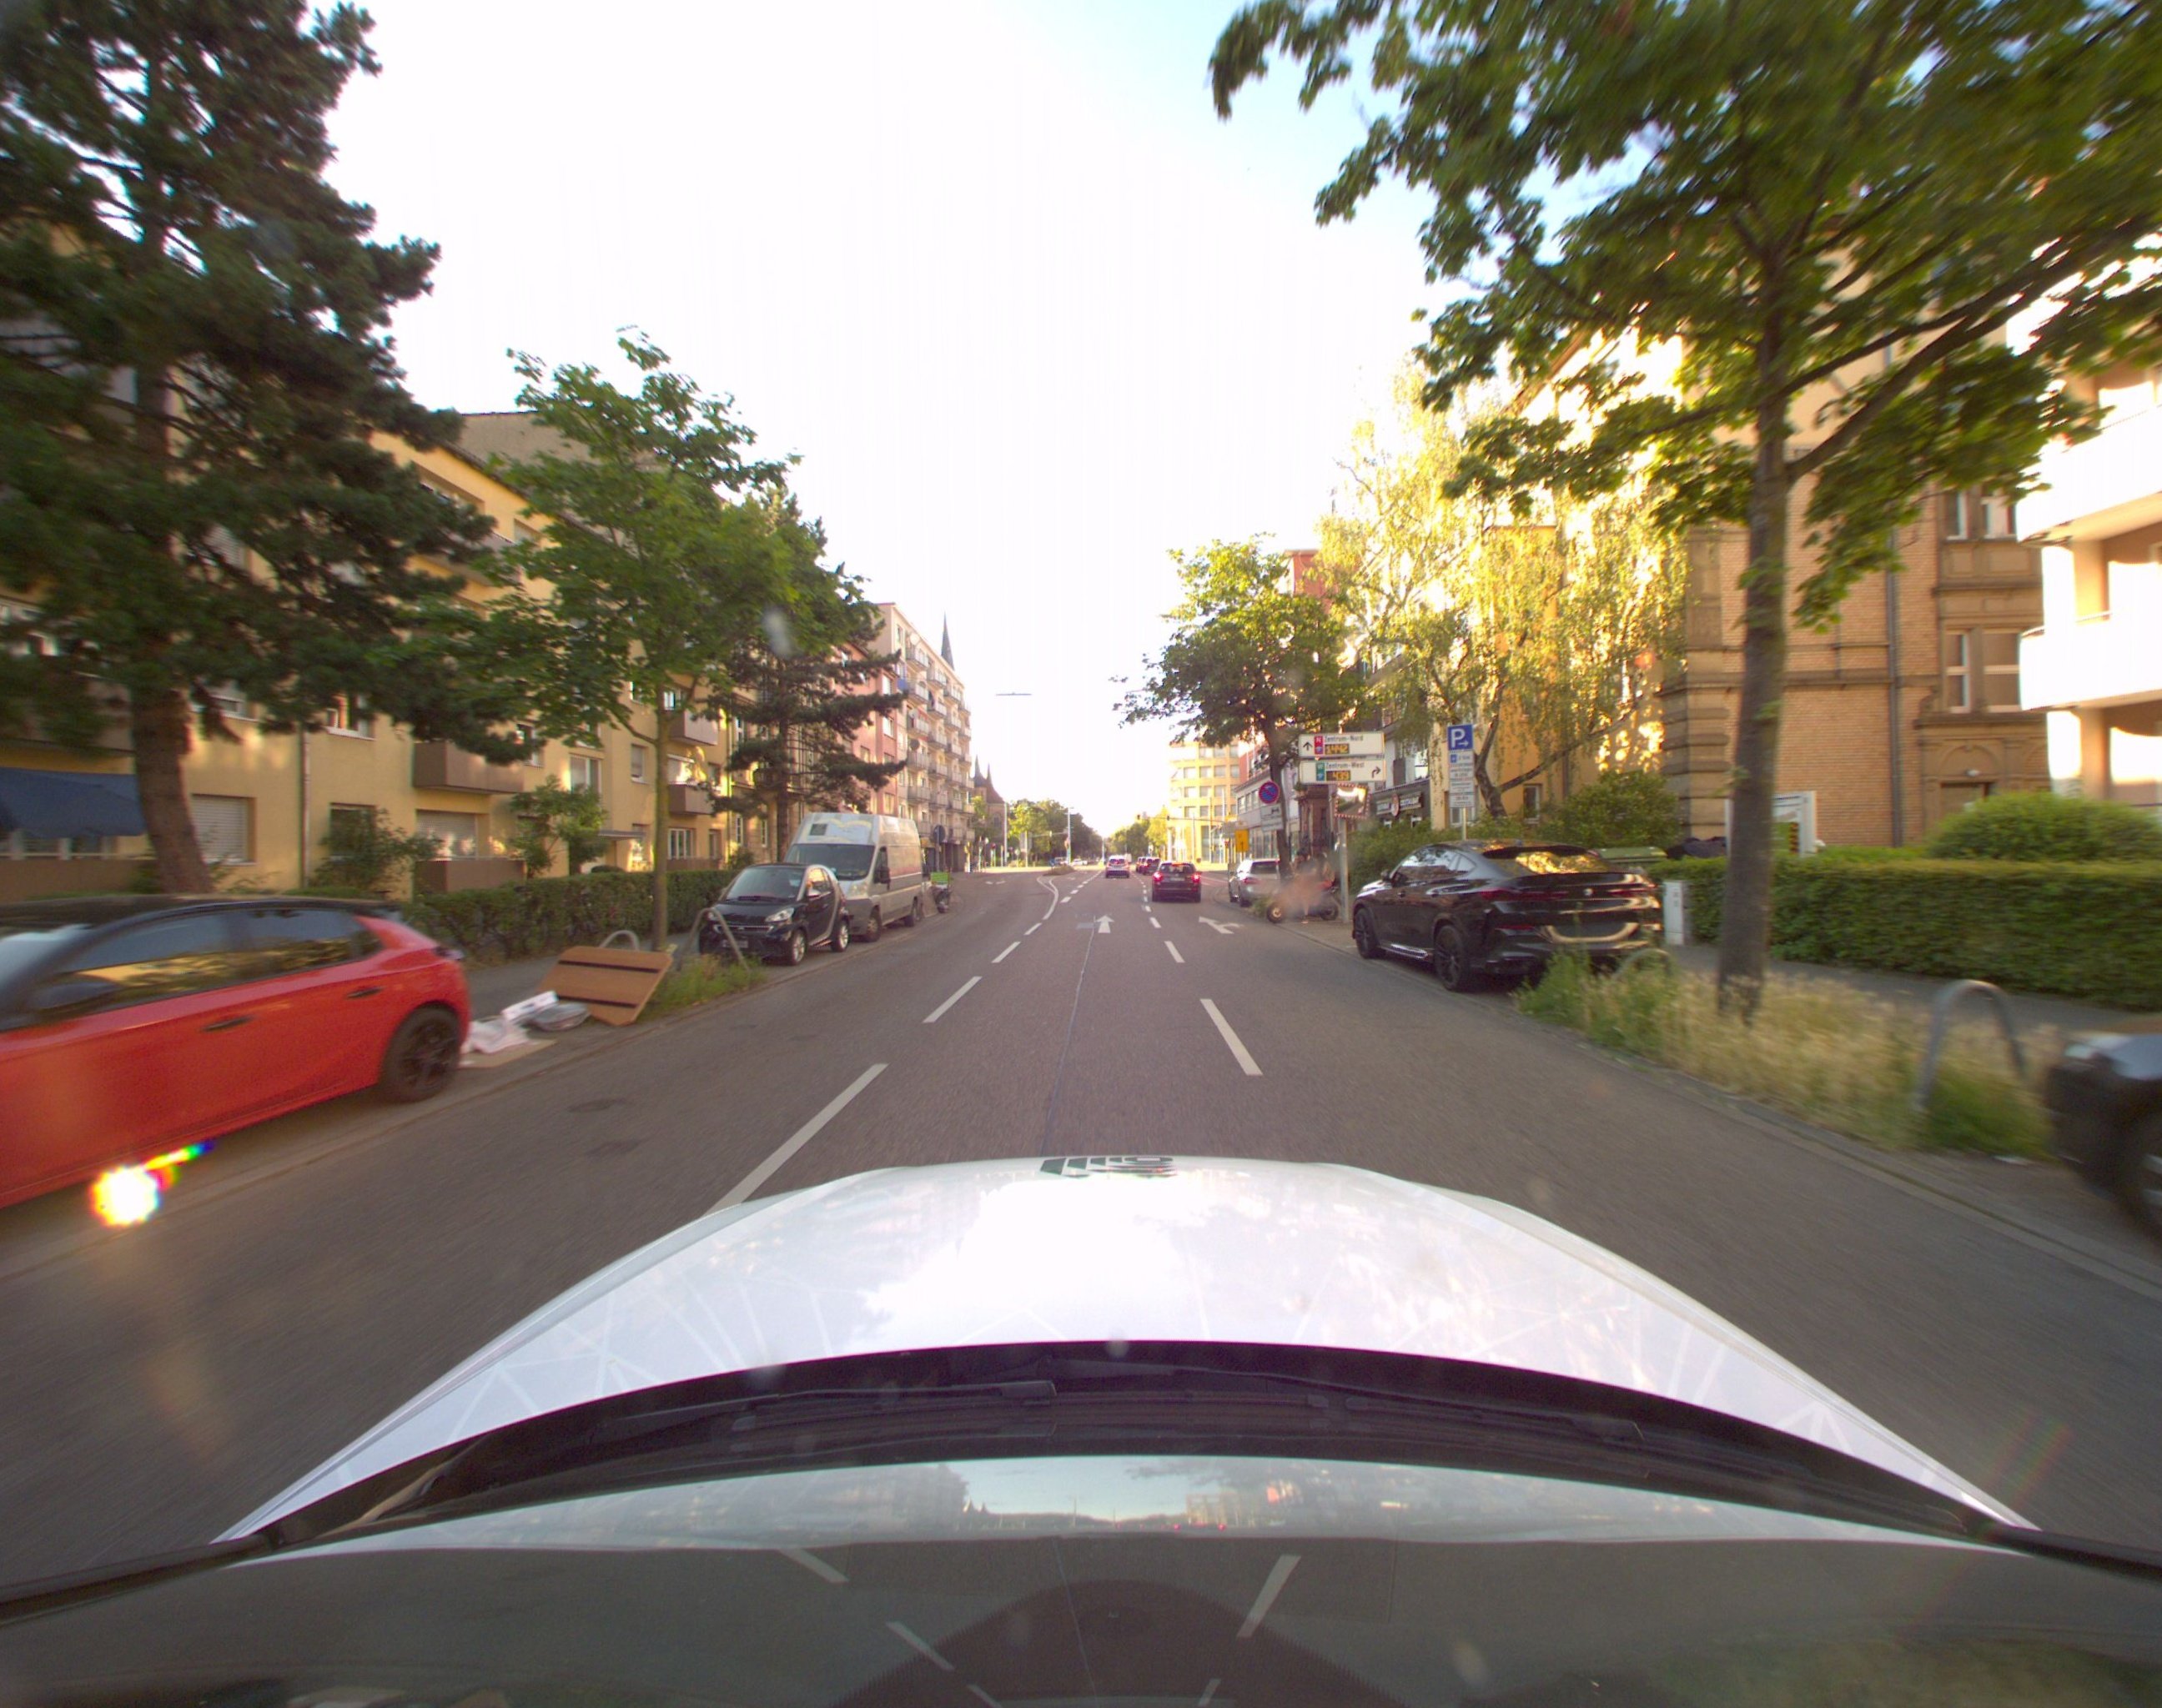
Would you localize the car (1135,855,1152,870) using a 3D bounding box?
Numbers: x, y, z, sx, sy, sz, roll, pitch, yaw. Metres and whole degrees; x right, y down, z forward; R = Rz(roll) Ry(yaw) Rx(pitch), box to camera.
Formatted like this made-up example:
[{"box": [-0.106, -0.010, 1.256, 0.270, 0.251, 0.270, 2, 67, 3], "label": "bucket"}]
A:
[{"box": [6.220, 0.867, 81.132, 1.578, 1.446, 3.649, 1, 0, 2], "label": "car"}]

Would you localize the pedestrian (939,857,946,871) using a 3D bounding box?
[{"box": [-13.677, 0.956, 80.403, 0.479, 1.384, 0.484, -1, -1, 22], "label": "pedestrian"}]

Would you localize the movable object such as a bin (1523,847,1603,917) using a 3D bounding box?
[{"box": [10.283, 0.594, 17.436, 1.243, 1.441, 0.999, -1, 0, 16], "label": "movable object such as a bin"}]

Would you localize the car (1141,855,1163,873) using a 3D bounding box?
[{"box": [5.972, 0.810, 68.827, 1.644, 1.484, 4.242, 0, 0, 2], "label": "car"}]

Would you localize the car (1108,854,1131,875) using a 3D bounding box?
[{"box": [2.844, 0.763, 60.603, 1.701, 1.510, 4.311, 0, 0, 2], "label": "car"}]

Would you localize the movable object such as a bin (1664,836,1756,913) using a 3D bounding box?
[{"box": [13.244, 0.410, 17.173, 1.154, 1.555, 0.992, -1, 0, -8], "label": "movable object such as a bin"}]

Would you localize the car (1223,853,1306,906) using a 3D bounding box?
[{"box": [5.875, 0.757, 26.637, 1.848, 1.512, 4.839, -2, 0, 4], "label": "car"}]

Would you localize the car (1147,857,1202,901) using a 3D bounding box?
[{"box": [3.367, 0.845, 29.897, 1.701, 1.457, 4.161, 1, 0, 2], "label": "car"}]

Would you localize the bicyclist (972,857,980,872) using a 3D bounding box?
[{"box": [-11.623, 1.180, 89.984, 0.780, 1.660, 0.900, 0, -1, 0], "label": "bicyclist"}]

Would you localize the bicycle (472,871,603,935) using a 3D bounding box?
[{"box": [-10.021, 0.893, 15.066, 1.935, 1.094, 0.609, -1, 0, -4], "label": "bicycle"}]

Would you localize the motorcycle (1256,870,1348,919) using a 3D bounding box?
[{"box": [5.140, 0.928, 18.995, 1.925, 1.071, 0.817, -1, 0, -10], "label": "motorcycle"}]

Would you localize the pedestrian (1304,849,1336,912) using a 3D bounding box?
[{"box": [5.542, 0.596, 18.868, 0.438, 1.430, 0.702, -1, 0, -10], "label": "pedestrian"}]

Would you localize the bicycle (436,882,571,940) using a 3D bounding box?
[{"box": [-10.027, 0.982, 14.172, 1.928, 0.925, 0.583, 1, 0, 3], "label": "bicycle"}]

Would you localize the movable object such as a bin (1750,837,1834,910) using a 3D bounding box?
[{"box": [14.804, 0.396, 16.996, 1.128, 1.441, 1.001, -1, 0, 30], "label": "movable object such as a bin"}]

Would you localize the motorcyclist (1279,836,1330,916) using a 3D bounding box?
[{"box": [5.168, 0.497, 18.853, 0.736, 1.778, 1.085, -1, 0, -10], "label": "motorcyclist"}]

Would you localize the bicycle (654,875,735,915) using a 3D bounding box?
[{"box": [-9.810, 1.036, 20.718, 1.778, 0.981, 0.590, 0, 0, 2], "label": "bicycle"}]

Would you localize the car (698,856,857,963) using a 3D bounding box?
[{"box": [-4.862, 0.823, 13.392, 1.397, 1.548, 2.764, 1, 0, 3], "label": "car"}]

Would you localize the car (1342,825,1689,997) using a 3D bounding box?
[{"box": [5.017, 0.564, 10.367, 1.941, 1.655, 4.797, -1, 0, 1], "label": "car"}]

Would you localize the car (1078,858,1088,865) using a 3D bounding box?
[{"box": [0.457, 1.560, 169.355, 1.773, 1.236, 4.003, -1, 0, 3], "label": "car"}]

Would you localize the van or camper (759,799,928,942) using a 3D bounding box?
[{"box": [-5.048, 0.317, 18.413, 2.029, 2.664, 6.014, 1, 0, -1], "label": "van or camper"}]

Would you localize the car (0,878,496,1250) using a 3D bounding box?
[{"box": [-5.318, 0.915, 4.172, 1.710, 1.451, 3.925, 0, 0, 2], "label": "car"}]

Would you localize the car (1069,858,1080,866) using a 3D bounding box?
[{"box": [-1.135, 1.451, 147.859, 1.773, 1.236, 4.003, -1, 0, 3], "label": "car"}]

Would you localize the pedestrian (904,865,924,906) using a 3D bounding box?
[{"box": [-5.585, 1.051, 27.267, 0.557, 1.378, 0.480, 1, 0, -4], "label": "pedestrian"}]

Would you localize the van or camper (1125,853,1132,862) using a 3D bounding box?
[{"box": [13.248, 0.958, 227.187, 1.985, 2.640, 5.356, -1, 0, 4], "label": "van or camper"}]

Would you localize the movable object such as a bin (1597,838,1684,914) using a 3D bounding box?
[{"box": [11.913, 0.452, 17.380, 1.154, 1.555, 0.992, -1, 0, -8], "label": "movable object such as a bin"}]

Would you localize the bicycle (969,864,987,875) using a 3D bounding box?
[{"box": [-11.330, 1.750, 89.575, 1.821, 1.188, 0.734, 0, -1, 1], "label": "bicycle"}]

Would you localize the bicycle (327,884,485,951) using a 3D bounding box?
[{"box": [-10.174, 0.946, 12.306, 1.928, 0.925, 0.583, 1, 0, 3], "label": "bicycle"}]

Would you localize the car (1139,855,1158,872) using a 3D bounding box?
[{"box": [6.255, 0.871, 75.810, 1.484, 1.505, 3.479, -1, 0, 1], "label": "car"}]

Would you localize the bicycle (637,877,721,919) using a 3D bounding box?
[{"box": [-9.836, 1.064, 19.965, 1.751, 0.981, 0.590, 0, 0, 2], "label": "bicycle"}]

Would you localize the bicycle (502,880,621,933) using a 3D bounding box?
[{"box": [-10.059, 1.007, 15.794, 1.928, 0.925, 0.583, 1, 0, 3], "label": "bicycle"}]

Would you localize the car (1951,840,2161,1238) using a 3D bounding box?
[{"box": [4.860, 0.672, 1.528, 1.711, 1.472, 4.431, -2, 0, 0], "label": "car"}]

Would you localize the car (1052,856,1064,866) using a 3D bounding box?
[{"box": [-4.133, 1.245, 148.503, 1.773, 1.647, 4.003, -1, 0, 3], "label": "car"}]
